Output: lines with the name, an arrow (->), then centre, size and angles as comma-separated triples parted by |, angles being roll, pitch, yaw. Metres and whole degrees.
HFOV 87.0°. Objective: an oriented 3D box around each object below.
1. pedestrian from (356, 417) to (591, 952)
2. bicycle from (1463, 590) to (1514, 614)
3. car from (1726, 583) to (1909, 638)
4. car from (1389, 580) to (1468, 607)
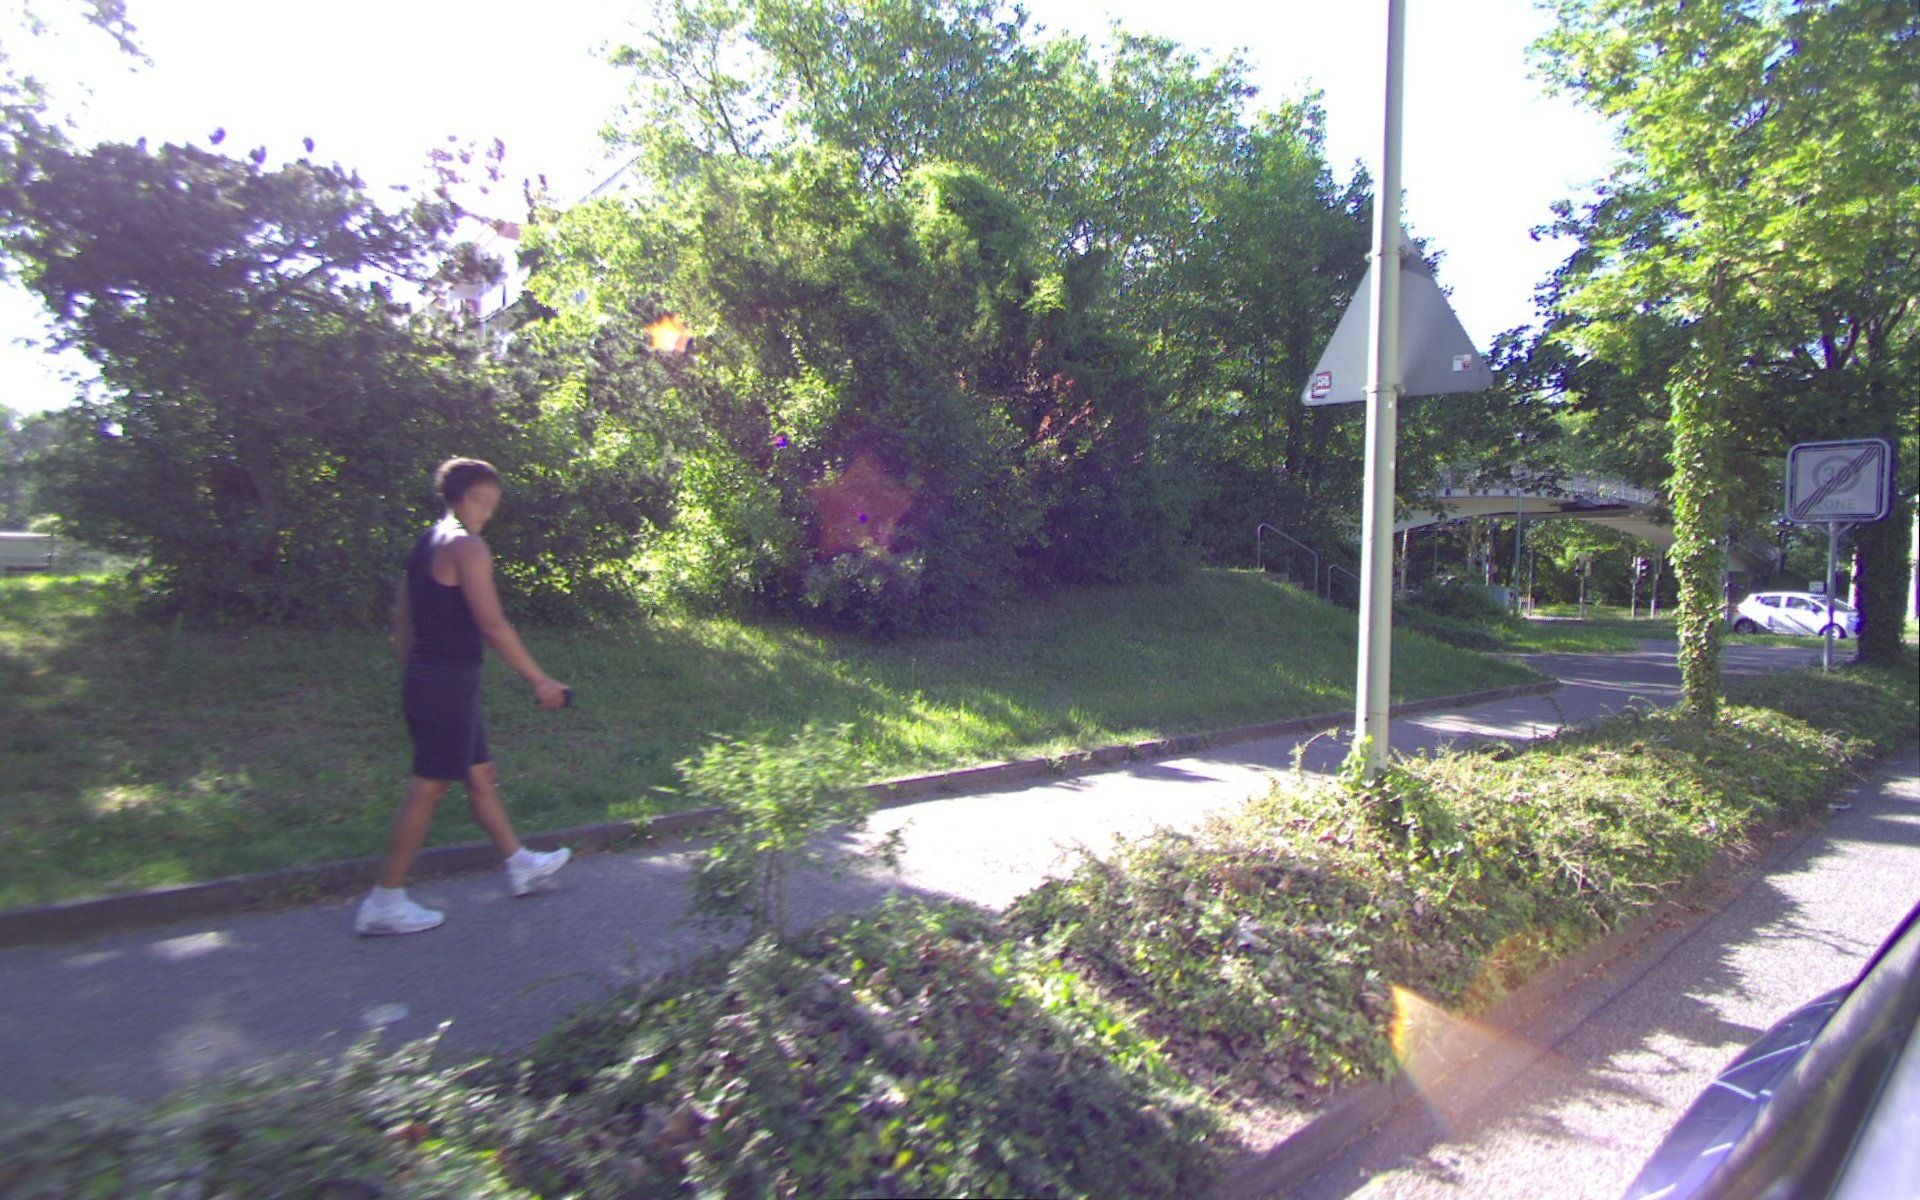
pedestrian -> -1.947, 0.285, 4.026 | 0.659, 1.855, 0.792 | 0, 1, -41
bicycle -> 20.501, 0.070, 39.275 | 0.450, 0.924, 1.717 | 0, 0, -38
car -> 28.135, 0.324, 33.389 | 1.684, 1.667, 4.343 | -1, 0, -20
car -> 30.091, -0.383, 65.138 | 1.688, 1.667, 4.332 | -1, 0, -37
